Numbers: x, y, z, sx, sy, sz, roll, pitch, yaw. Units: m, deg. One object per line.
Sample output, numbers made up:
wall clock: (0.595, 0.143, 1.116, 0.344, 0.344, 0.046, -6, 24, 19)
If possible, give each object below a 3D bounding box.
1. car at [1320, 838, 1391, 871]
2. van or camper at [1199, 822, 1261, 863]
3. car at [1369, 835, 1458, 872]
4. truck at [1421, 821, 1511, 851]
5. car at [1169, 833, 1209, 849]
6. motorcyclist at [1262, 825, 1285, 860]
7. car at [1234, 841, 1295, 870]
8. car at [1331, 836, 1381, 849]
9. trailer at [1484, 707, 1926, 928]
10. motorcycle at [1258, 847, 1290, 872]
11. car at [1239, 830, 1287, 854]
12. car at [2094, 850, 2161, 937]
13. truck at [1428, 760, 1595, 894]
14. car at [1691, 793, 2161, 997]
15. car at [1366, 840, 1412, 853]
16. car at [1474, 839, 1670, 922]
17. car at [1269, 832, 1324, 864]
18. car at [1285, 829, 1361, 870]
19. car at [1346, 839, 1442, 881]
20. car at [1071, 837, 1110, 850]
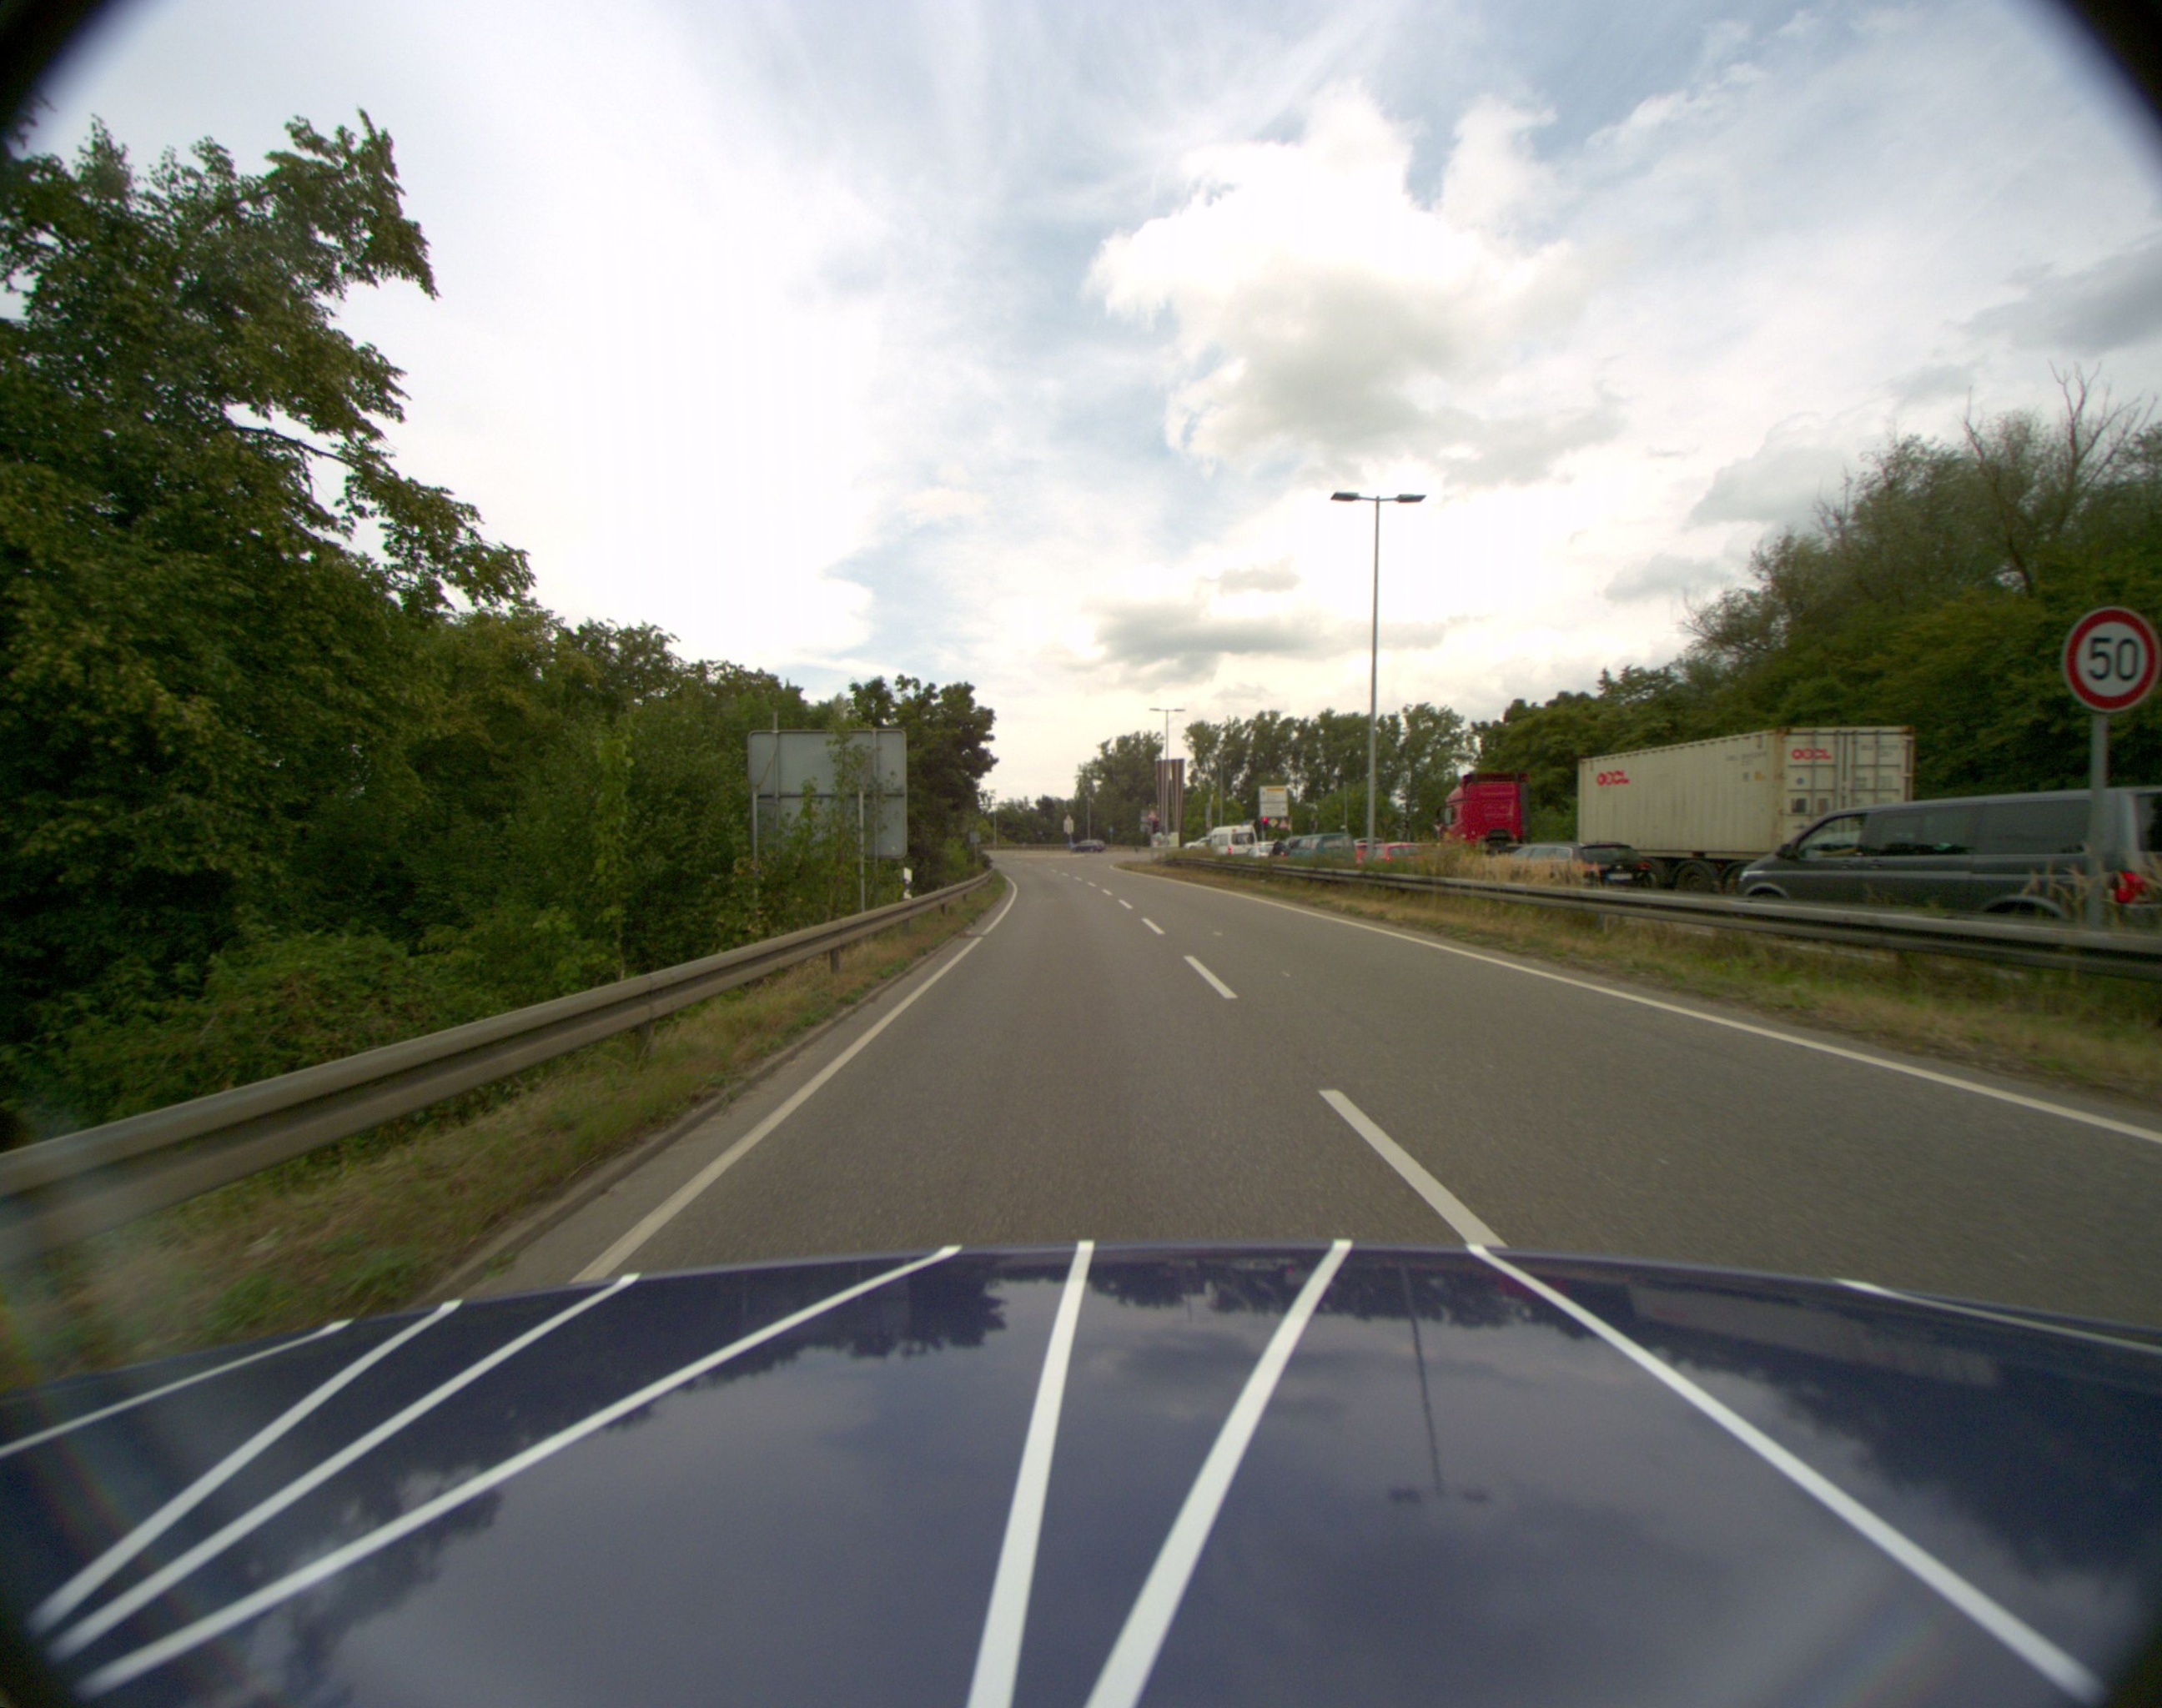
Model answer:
car: (14.228, -0.017, 39.575, 1.999, 1.605, 3.997, -1, 2, -5)
van or camper: (9.978, -0.804, 51.505, 2.167, 2.574, 6.489, -2, 2, -7)
car: (14.671, -0.074, 33.765, 1.809, 1.458, 4.275, -1, 2, -5)
truck: (43.714, -2.078, 86.337, 9.278, 3.118, 2.968, -2, 2, -11)
car: (12.191, -1.480, 85.777, 4.254, 1.773, 1.927, -1, 2, 1)
motorcyclist: (10.184, -0.608, 40.216, 0.868, 1.813, 0.924, -2, 2, -7)
car: (10.491, 0.029, 43.764, 2.000, 1.490, 4.396, -2, 2, -6)
car: (28.593, -1.213, 79.035, 4.575, 1.303, 1.998, -2, 2, -10)
trailer: (14.614, -0.834, 19.717, 2.541, 4.124, 10.767, -1, 2, 0)
motorcycle: (10.214, 0.282, 40.299, 0.801, 1.218, 2.324, -2, 2, -7)
car: (12.875, -0.884, 54.104, 1.999, 1.538, 4.535, -1, 2, -5)
car: (17.659, 0.658, 10.564, 1.627, 1.325, 4.159, -1, 2, 2)
truck: (14.587, -0.907, 26.303, 2.574, 4.061, 5.621, -1, 2, 0)
car: (10.758, 0.276, 9.510, 2.014, 1.853, 5.276, -1, 2, 0)
car: (34.093, -0.812, 84.053, 4.338, 1.303, 1.998, -2, 2, -10)
car: (11.482, 0.521, 18.183, 1.845, 1.657, 4.333, -1, 2, -1)
car: (13.398, -0.398, 47.536, 1.999, 1.891, 4.164, -1, 2, -5)
car: (11.285, -0.268, 35.798, 1.809, 1.720, 4.958, -1, 2, -3)
car: (11.676, 0.171, 28.659, 1.809, 1.424, 4.123, -1, 2, -2)
car: (1.099, -1.285, 91.243, 4.365, 1.480, 2.004, 0, 2, 38)
